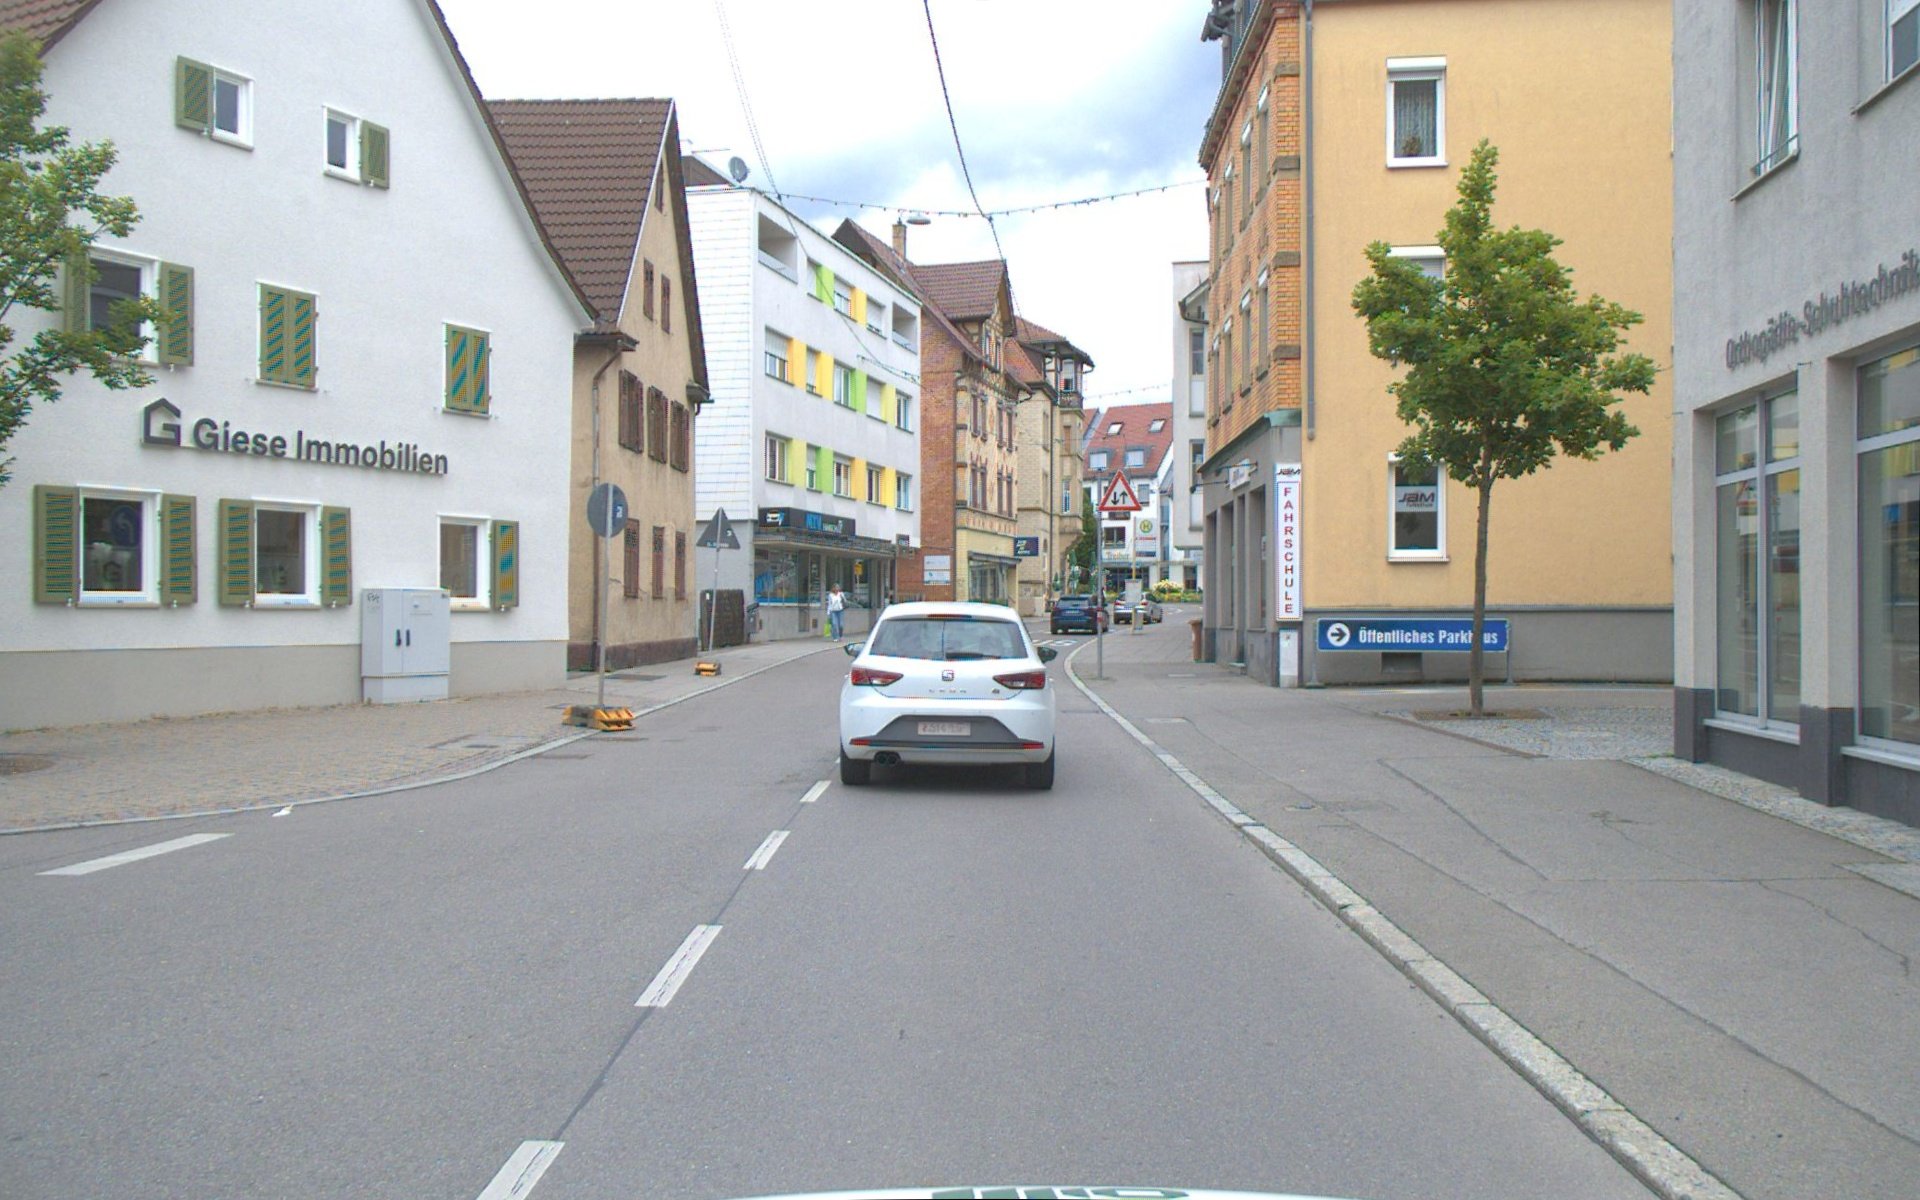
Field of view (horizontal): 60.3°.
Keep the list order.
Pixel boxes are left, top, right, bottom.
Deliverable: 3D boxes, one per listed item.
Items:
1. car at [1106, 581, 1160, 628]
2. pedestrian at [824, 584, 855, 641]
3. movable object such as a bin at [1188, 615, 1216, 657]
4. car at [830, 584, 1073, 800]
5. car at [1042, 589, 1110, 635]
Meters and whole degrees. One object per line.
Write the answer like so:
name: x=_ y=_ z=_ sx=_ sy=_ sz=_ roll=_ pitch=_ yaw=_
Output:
car: x=7.871 y=0.189 z=75.150 sx=1.951 sy=2.049 sz=4.003 roll=0 pitch=0 yaw=13
pedestrian: x=-3.626 y=0.358 z=49.713 sx=0.874 sy=1.694 sz=0.861 roll=0 pitch=0 yaw=-1
movable object such as a bin: x=5.435 y=0.808 z=37.192 sx=0.606 sy=0.937 sz=0.582 roll=0 pitch=0 yaw=6
car: x=0.051 y=0.664 z=14.231 sx=1.773 sy=1.506 sz=3.873 roll=1 pitch=1 yaw=3
car: x=4.228 y=0.407 z=59.779 sx=1.773 sy=1.506 sz=3.874 roll=0 pitch=1 yaw=15
